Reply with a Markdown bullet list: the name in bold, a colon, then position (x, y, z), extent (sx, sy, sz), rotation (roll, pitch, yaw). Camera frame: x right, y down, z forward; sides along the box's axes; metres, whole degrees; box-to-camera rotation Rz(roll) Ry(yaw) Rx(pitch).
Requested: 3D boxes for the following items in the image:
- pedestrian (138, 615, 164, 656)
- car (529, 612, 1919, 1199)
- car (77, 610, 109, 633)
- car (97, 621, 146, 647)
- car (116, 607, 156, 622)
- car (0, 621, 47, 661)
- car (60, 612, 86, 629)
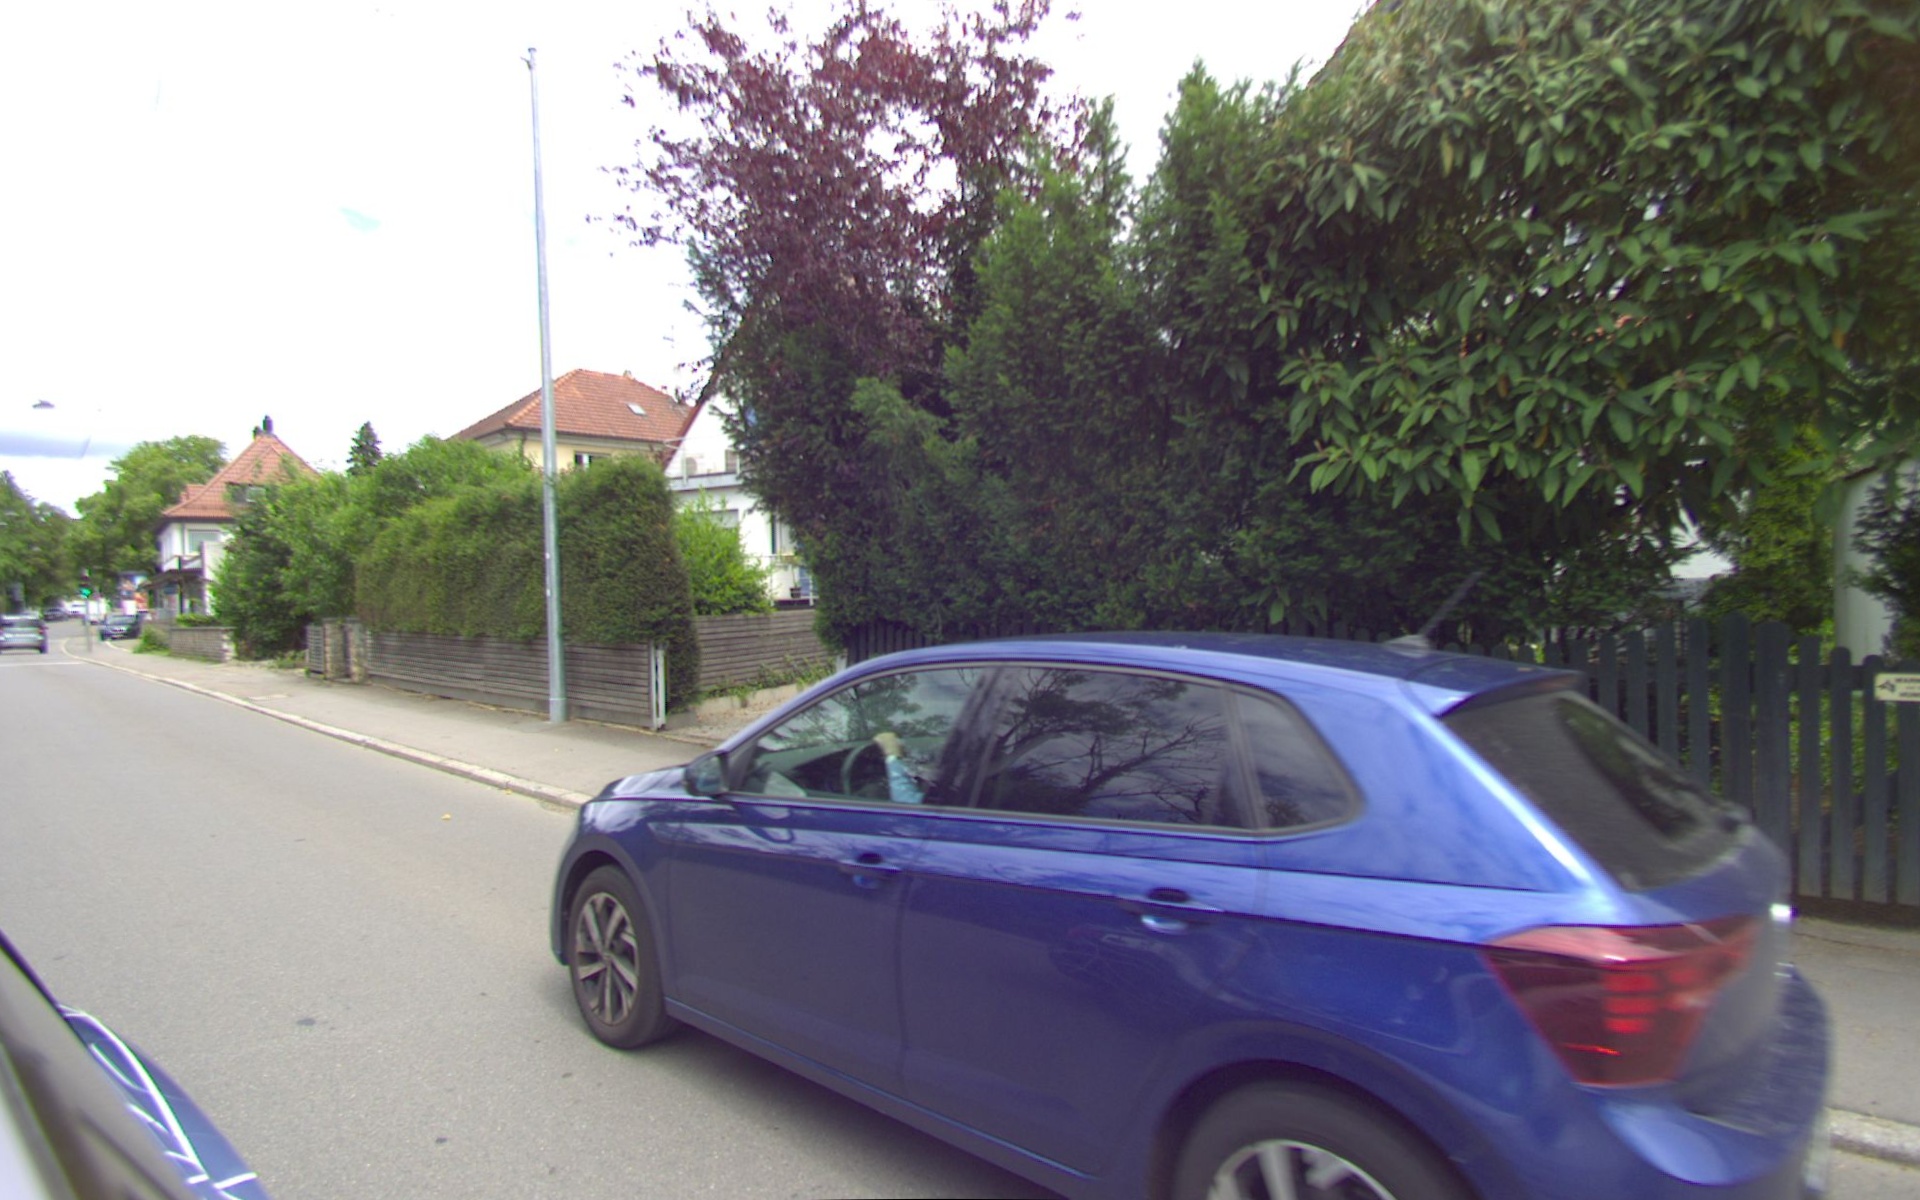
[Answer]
- **pedestrian**: position (-36.689, 1.595, 45.903), extent (0.810, 1.757, 0.605), rotation (-4, 2, -44)
- **car**: position (0.468, 0.765, 2.988), extent (3.925, 1.443, 1.676), rotation (-1, -1, 41)
- **car**: position (-83.103, 2.041, 96.977), extent (1.859, 1.930, 4.836), rotation (-6, 4, -44)
- **car**: position (-49.879, 1.999, 60.256), extent (1.794, 1.361, 3.401), rotation (-4, 2, -34)
- **car**: position (-112.962, 2.014, 138.739), extent (3.933, 1.752, 2.006), rotation (-4, 2, -32)
- **car**: position (-41.569, 1.753, 44.450), extent (4.139, 1.668, 1.820), rotation (-1, -2, 43)
- **car**: position (-100.368, 2.283, 114.504), extent (1.971, 1.709, 4.003), rotation (-4, 3, -45)
